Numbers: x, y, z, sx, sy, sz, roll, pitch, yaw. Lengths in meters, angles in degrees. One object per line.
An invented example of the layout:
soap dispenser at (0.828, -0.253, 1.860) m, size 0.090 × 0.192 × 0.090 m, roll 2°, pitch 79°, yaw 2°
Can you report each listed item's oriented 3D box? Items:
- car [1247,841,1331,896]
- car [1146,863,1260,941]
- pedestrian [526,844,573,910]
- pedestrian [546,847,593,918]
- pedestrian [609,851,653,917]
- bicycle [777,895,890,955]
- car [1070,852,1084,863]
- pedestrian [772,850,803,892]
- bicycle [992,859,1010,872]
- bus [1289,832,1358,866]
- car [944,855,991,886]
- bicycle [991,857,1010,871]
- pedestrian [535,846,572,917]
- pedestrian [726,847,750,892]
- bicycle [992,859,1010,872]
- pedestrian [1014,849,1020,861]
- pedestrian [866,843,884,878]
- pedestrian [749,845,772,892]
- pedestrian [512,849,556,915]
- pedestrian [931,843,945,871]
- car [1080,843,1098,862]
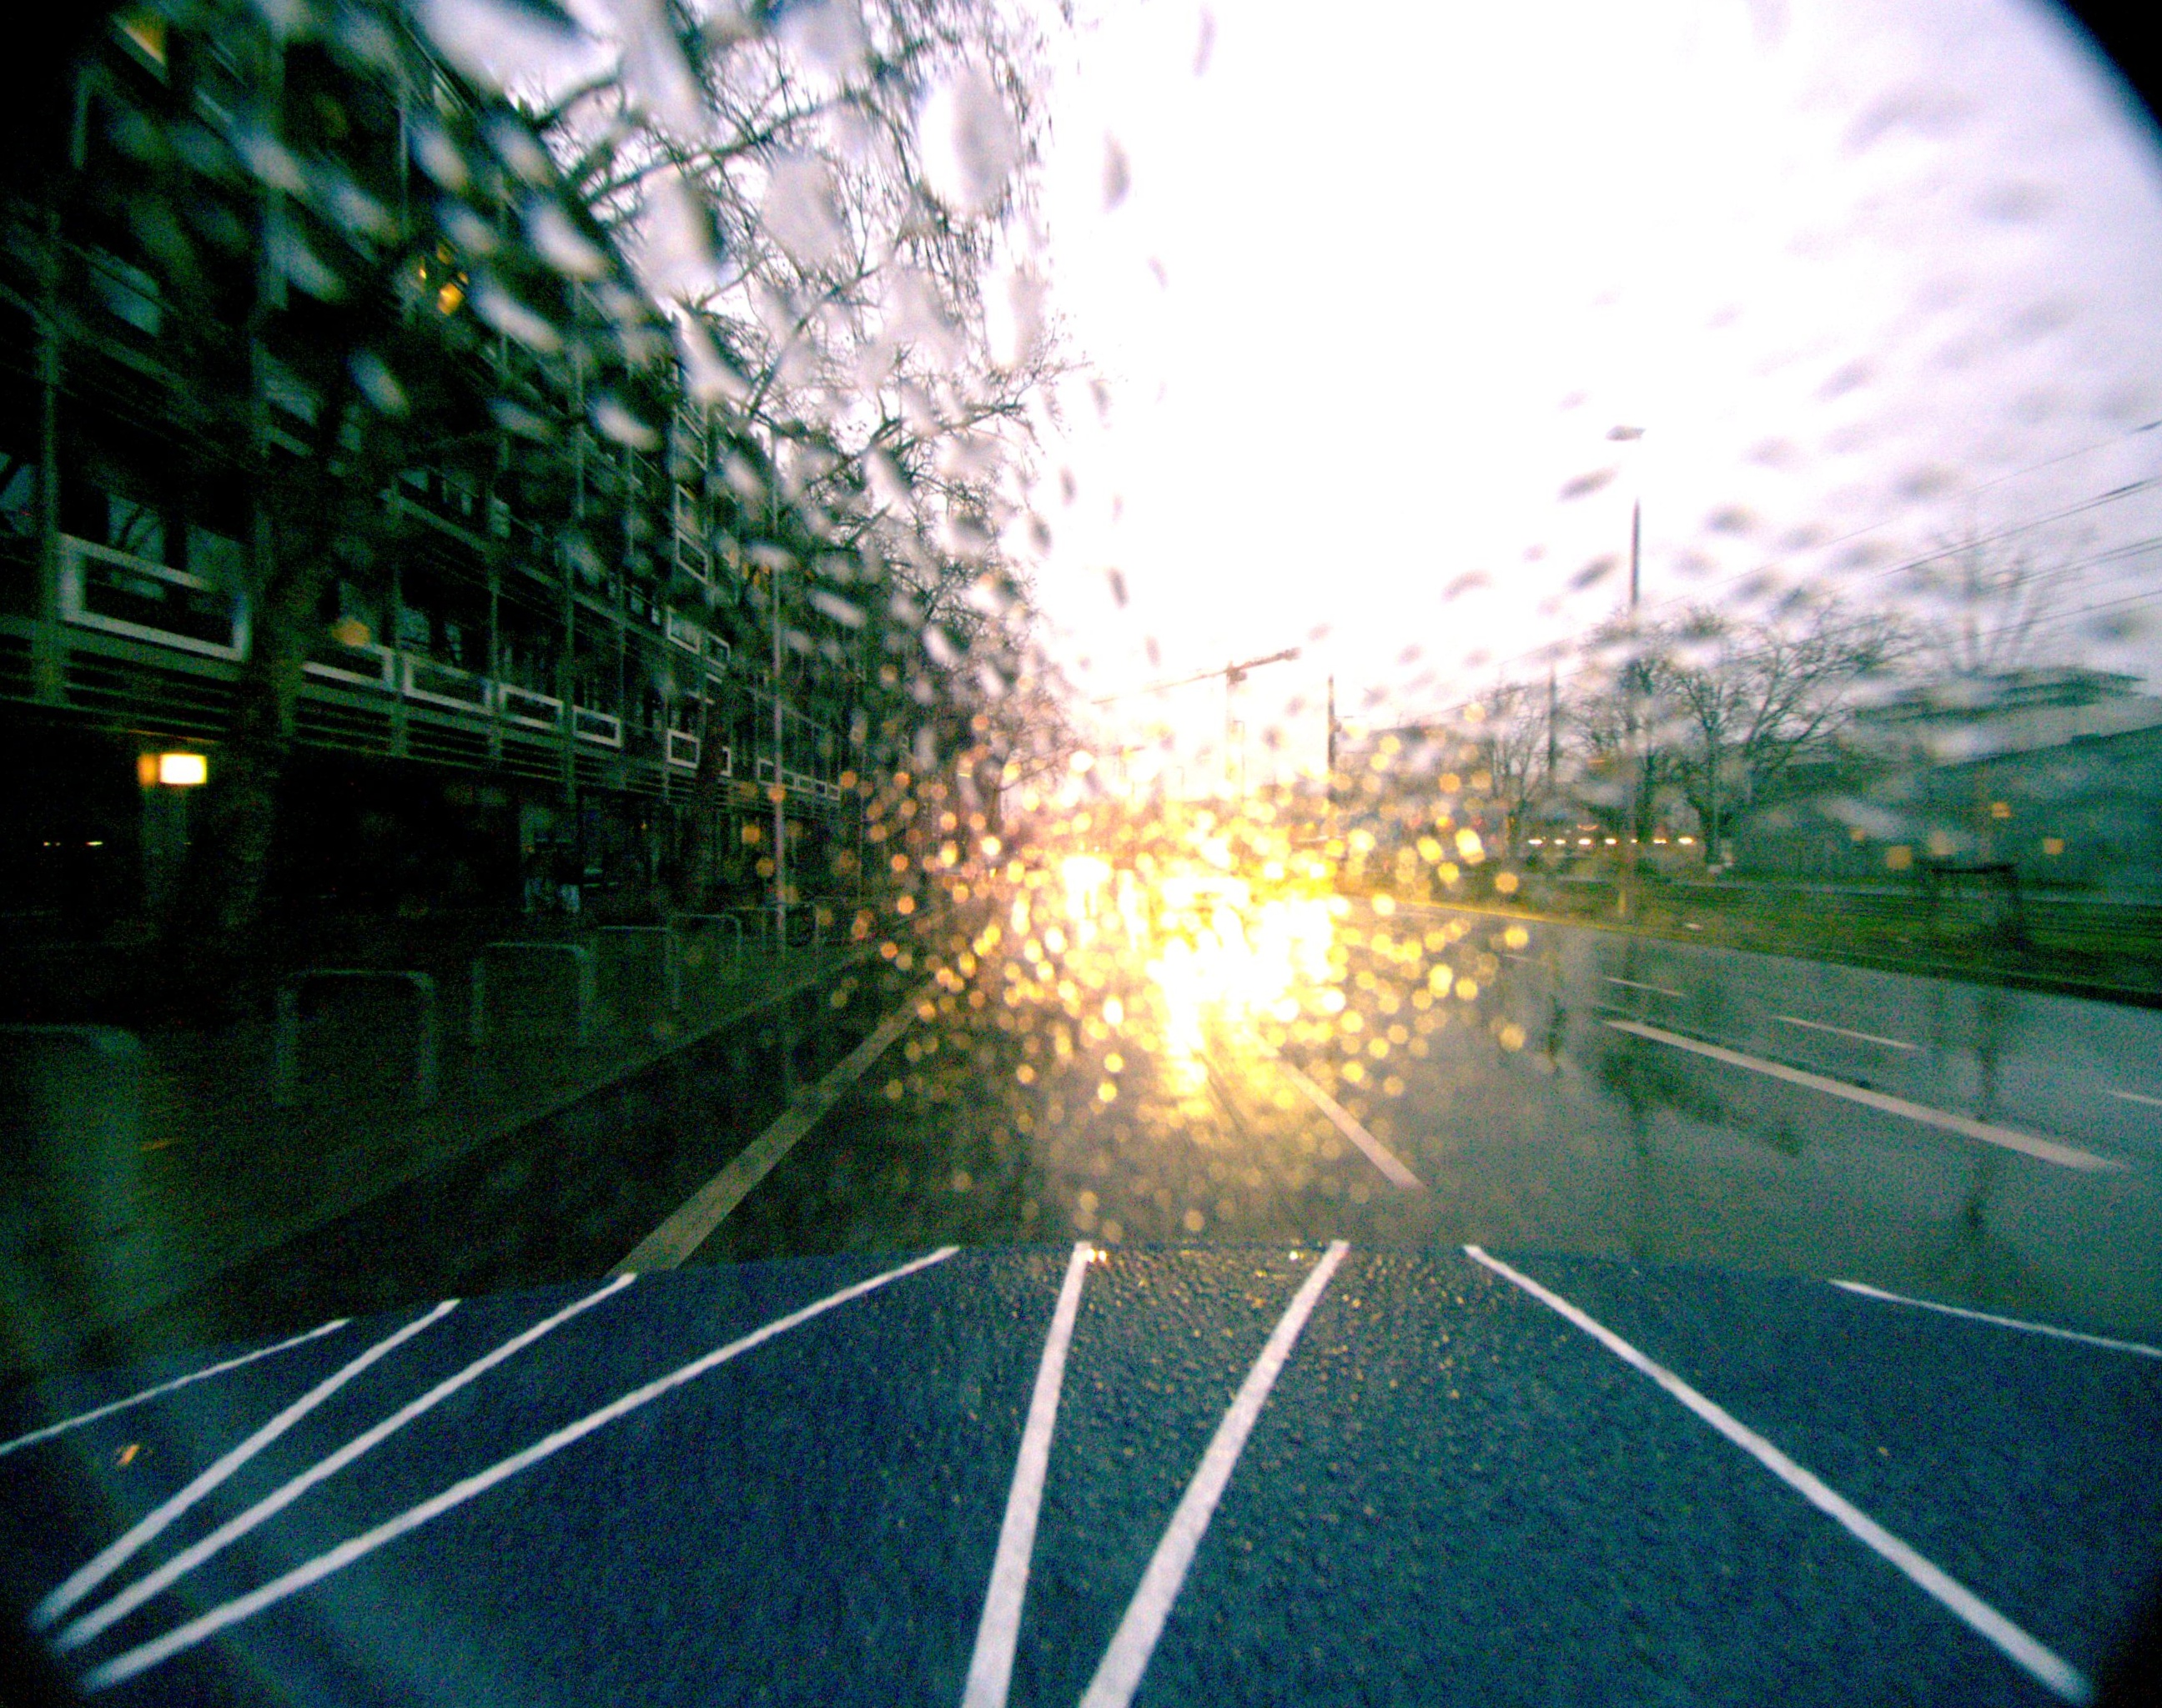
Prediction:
car at (7.137, 0.447, 26.511) m, size 1.707 × 1.733 × 4.612 m, roll 0°, pitch 0°, yaw 0°
car at (2.592, 0.968, 17.050) m, size 1.778 × 1.466 × 4.129 m, roll 0°, pitch 0°, yaw -2°
pedestrian at (-13.653, 0.580, 19.539) m, size 0.617 × 1.647 × 0.780 m, roll 0°, pitch 1°, yaw 1°
pedestrian at (-12.266, 0.663, 18.226) m, size 0.501 × 1.658 × 0.873 m, roll 0°, pitch 1°, yaw 1°
pedestrian at (-10.644, 0.698, 17.984) m, size 0.649 × 1.535 × 0.615 m, roll 0°, pitch 1°, yaw 2°
bicycle at (-4.346, 1.240, 13.422) m, size 1.792 × 0.968 × 0.617 m, roll 1°, pitch 1°, yaw -3°
car at (-0.587, 0.587, 114.123) m, size 1.858 × 1.591 × 4.001 m, roll -1°, pitch -1°, yaw 1°
pedestrian at (-10.719, 0.622, 27.782) m, size 0.866 × 1.515 × 0.837 m, roll 0°, pitch 1°, yaw -6°
bicycle at (-6.845, 0.981, 64.792) m, size 1.523 × 1.030 × 0.469 m, roll -2°, pitch 1°, yaw -6°
bus at (26.941, -0.595, 85.218) m, size 2.815 × 3.556 × 12.299 m, roll 0°, pitch 0°, yaw -5°
car at (-5.802, 0.807, 39.209) m, size 1.608 × 1.424 × 3.930 m, roll 2°, pitch 1°, yaw 3°
bicycle at (-6.636, 0.823, 62.584) m, size 1.523 × 1.030 × 0.469 m, roll -2°, pitch 1°, yaw -6°
pedestrian at (-12.694, 0.648, 18.299) m, size 0.379 × 1.658 × 0.713 m, roll 0°, pitch 1°, yaw 1°
pedestrian at (-12.603, 0.550, 27.953) m, size 0.642 × 1.645 × 0.842 m, roll 0°, pitch 1°, yaw -12°
bicycle at (-6.754, 0.969, 64.090) m, size 1.523 × 1.030 × 0.469 m, roll -2°, pitch 1°, yaw -6°
pedestrian at (-11.793, 0.175, 139.883) m, size 0.838 × 2.002 × 0.771 m, roll -2°, pitch 1°, yaw 0°
pedestrian at (-12.125, 0.375, 44.742) m, size 0.822 × 2.002 × 0.735 m, roll 0°, pitch 1°, yaw -1°
pedestrian at (-11.910, 0.523, 28.287) m, size 0.661 × 1.708 × 0.841 m, roll 0°, pitch 1°, yaw -15°
pedestrian at (-13.231, 0.668, 18.392) m, size 0.484 × 1.555 × 0.745 m, roll 0°, pitch 1°, yaw 0°
pedestrian at (-10.118, 0.208, 53.696) m, size 0.791 × 2.002 × 1.024 m, roll 0°, pitch 1°, yaw 0°
car at (0.874, -0.147, 83.578) m, size 1.858 × 2.002 × 4.001 m, roll 0°, pitch 0°, yaw 1°
